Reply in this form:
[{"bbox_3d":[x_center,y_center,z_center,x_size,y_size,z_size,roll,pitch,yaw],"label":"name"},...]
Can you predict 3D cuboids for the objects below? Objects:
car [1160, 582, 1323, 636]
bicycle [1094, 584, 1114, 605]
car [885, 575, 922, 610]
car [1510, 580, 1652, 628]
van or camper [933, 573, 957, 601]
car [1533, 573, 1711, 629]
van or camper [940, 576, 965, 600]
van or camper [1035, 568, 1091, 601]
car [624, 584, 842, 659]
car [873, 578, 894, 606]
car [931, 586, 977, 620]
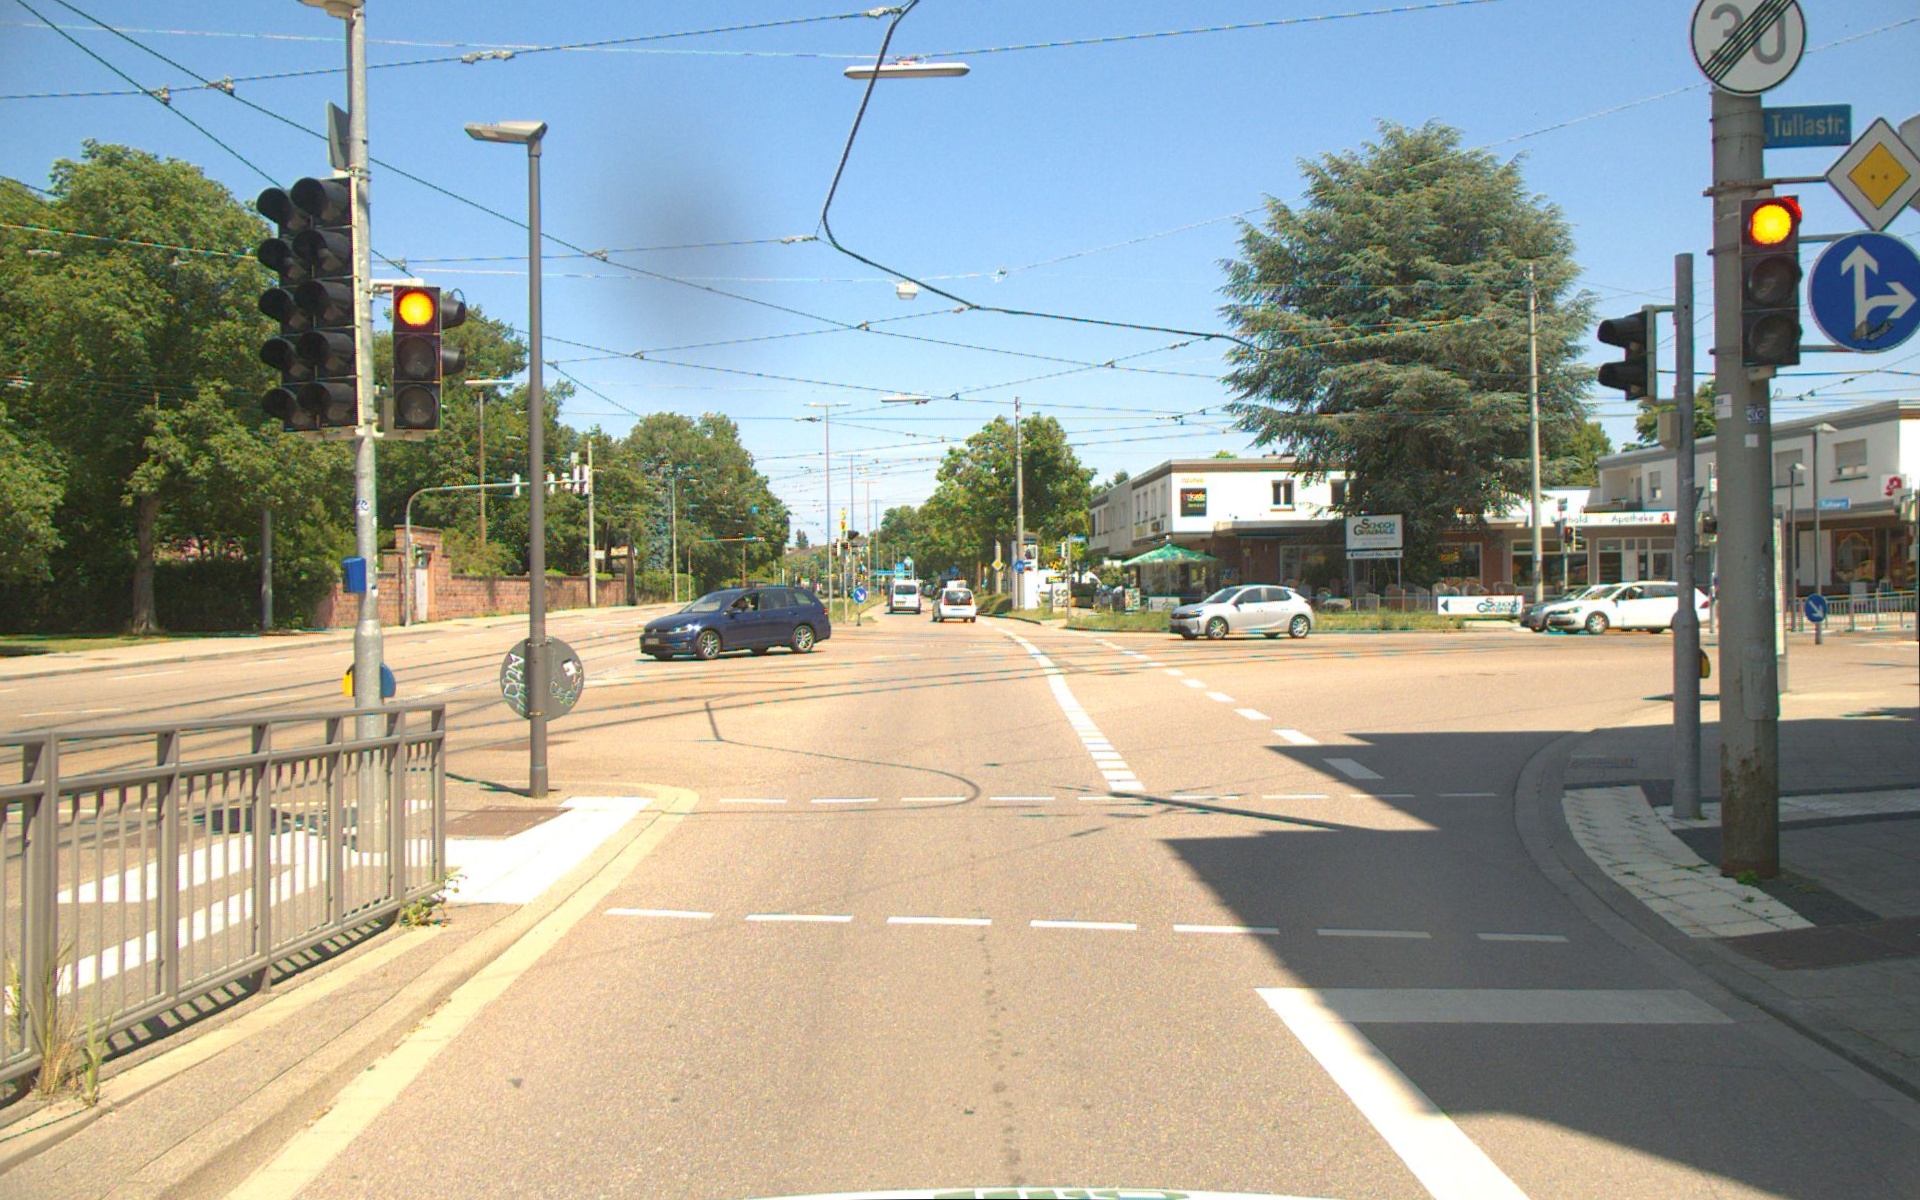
[{"bbox_3d":[7.608,0.223,44.705,3.978,1.386,1.813,-1,0,-20],"label":"car"},{"bbox_3d":[7.384,-0.273,84.604,1.012,1.032,2.639,-1,1,5],"label":"bicycle"},{"bbox_3d":[-3.192,-0.422,92.870,1.954,1.892,3.998,0,1,-3],"label":"car"},{"bbox_3d":[18.945,0.117,50.550,3.751,1.375,1.642,-1,0,0],"label":"car"},{"bbox_3d":[-1.397,-1.194,152.819,1.954,2.507,3.997,-1,0,-4],"label":"van or camper"},{"bbox_3d":[18.938,0.022,47.434,4.396,1.516,1.822,-1,0,-5],"label":"car"},{"bbox_3d":[-0.578,-0.943,130.363,1.883,1.803,3.999,-1,0,-1],"label":"van or camper"},{"bbox_3d":[8.927,-1.340,143.534,4.662,2.717,2.134,-1,0,-3],"label":"van or camper"},{"bbox_3d":[-4.863,0.426,35.788,4.441,1.467,1.833,-1,1,-43],"label":"car"},{"bbox_3d":[-5.718,-0.621,123.689,1.392,2.049,3.626,-1,0,-6],"label":"car"},{"bbox_3d":[-0.295,0.123,72.993,1.638,1.460,3.469,-1,0,-7],"label":"car"}]
